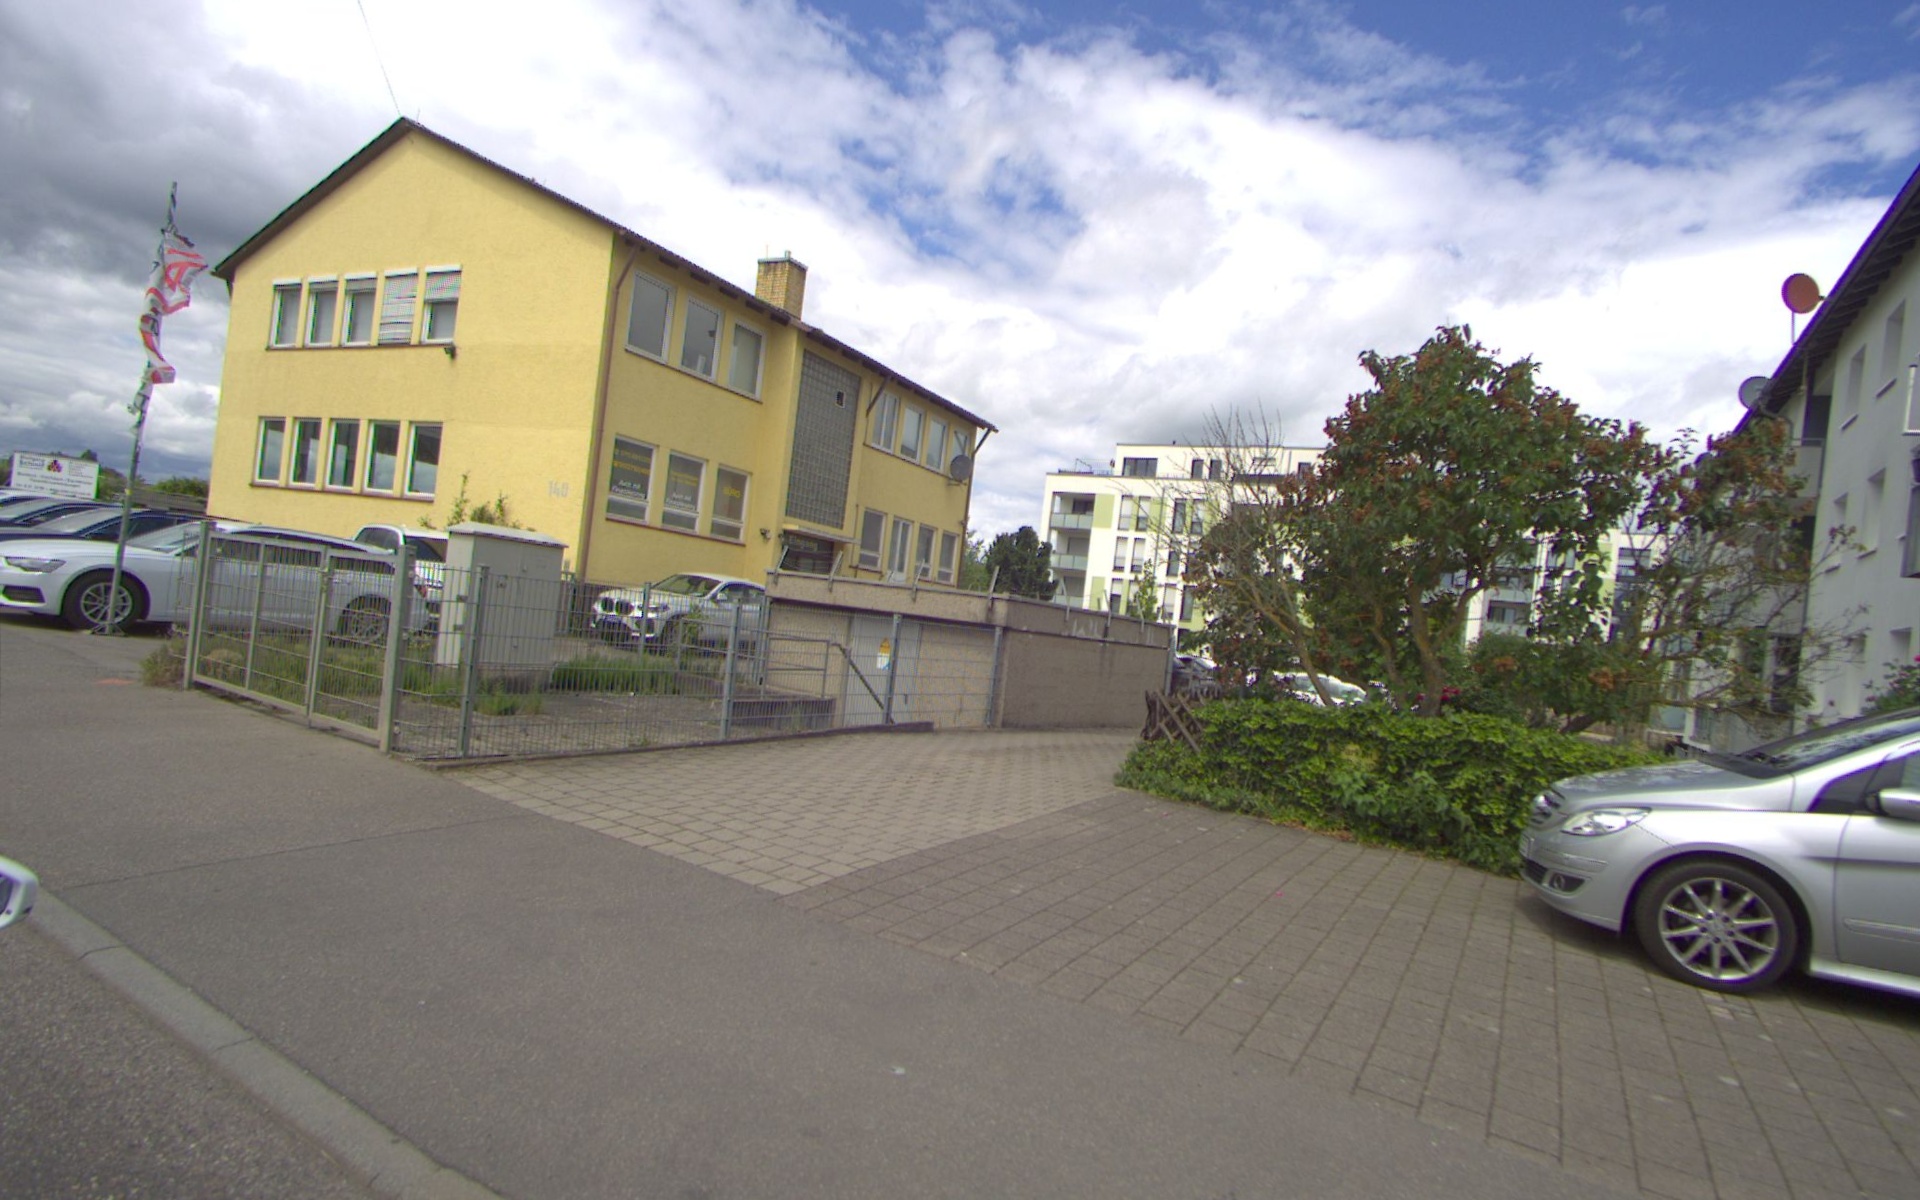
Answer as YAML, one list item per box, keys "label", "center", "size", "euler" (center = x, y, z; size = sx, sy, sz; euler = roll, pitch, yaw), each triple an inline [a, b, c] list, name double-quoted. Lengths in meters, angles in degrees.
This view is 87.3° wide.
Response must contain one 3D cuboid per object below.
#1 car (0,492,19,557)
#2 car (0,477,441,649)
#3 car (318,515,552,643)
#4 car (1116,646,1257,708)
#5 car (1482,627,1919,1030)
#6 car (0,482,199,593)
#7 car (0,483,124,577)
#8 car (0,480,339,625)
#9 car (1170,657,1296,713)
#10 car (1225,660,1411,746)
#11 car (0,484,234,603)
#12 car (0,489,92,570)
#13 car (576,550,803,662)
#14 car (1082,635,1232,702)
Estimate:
- label: "car"
  center: [-23.458, -2.014, 21.549]
  size: [1.970, 1.413, 4.334]
  euler: [5, -4, 29]
- label: "car"
  center: [-9.628, -0.390, 13.041]
  size: [2.011, 1.510, 4.707]
  euler: [8, -2, 30]
- label: "car"
  center: [-9.604, -0.444, 18.202]
  size: [4.960, 1.843, 1.973]
  euler: [5, -1, 41]
- label: "car"
  center: [7.035, 2.389, 31.388]
  size: [3.859, 1.400, 1.647]
  euler: [7, -1, 32]
- label: "car"
  center: [5.181, 1.226, 4.931]
  size: [4.445, 1.564, 1.878]
  euler: [7, 0, 30]
- label: "car"
  center: [-16.626, -1.262, 17.574]
  size: [1.998, 1.496, 4.811]
  euler: [7, -3, 32]
- label: "car"
  center: [-19.049, -1.583, 18.886]
  size: [1.982, 1.510, 4.687]
  euler: [7, -3, 32]
- label: "car"
  center: [-11.999, -0.680, 14.525]
  size: [2.001, 1.511, 4.669]
  euler: [7, -2, 31]
- label: "car"
  center: [9.596, 2.975, 35.475]
  size: [3.859, 1.400, 1.647]
  euler: [7, -1, 32]
- label: "car"
  center: [8.904, 2.547, 25.084]
  size: [3.934, 1.525, 1.936]
  euler: [6, -3, 32]
- label: "car"
  center: [-14.485, -0.997, 15.892]
  size: [1.955, 1.419, 4.381]
  euler: [7, -3, 29]
- label: "car"
  center: [-21.137, -1.771, 20.422]
  size: [2.004, 1.446, 4.864]
  euler: [7, -3, 31]
- label: "car"
  center: [-5.249, 0.192, 20.069]
  size: [1.827, 1.599, 4.138]
  euler: [8, -2, 30]
- label: "car"
  center: [5.733, 1.999, 29.400]
  size: [3.859, 1.400, 1.647]
  euler: [7, -1, 32]
